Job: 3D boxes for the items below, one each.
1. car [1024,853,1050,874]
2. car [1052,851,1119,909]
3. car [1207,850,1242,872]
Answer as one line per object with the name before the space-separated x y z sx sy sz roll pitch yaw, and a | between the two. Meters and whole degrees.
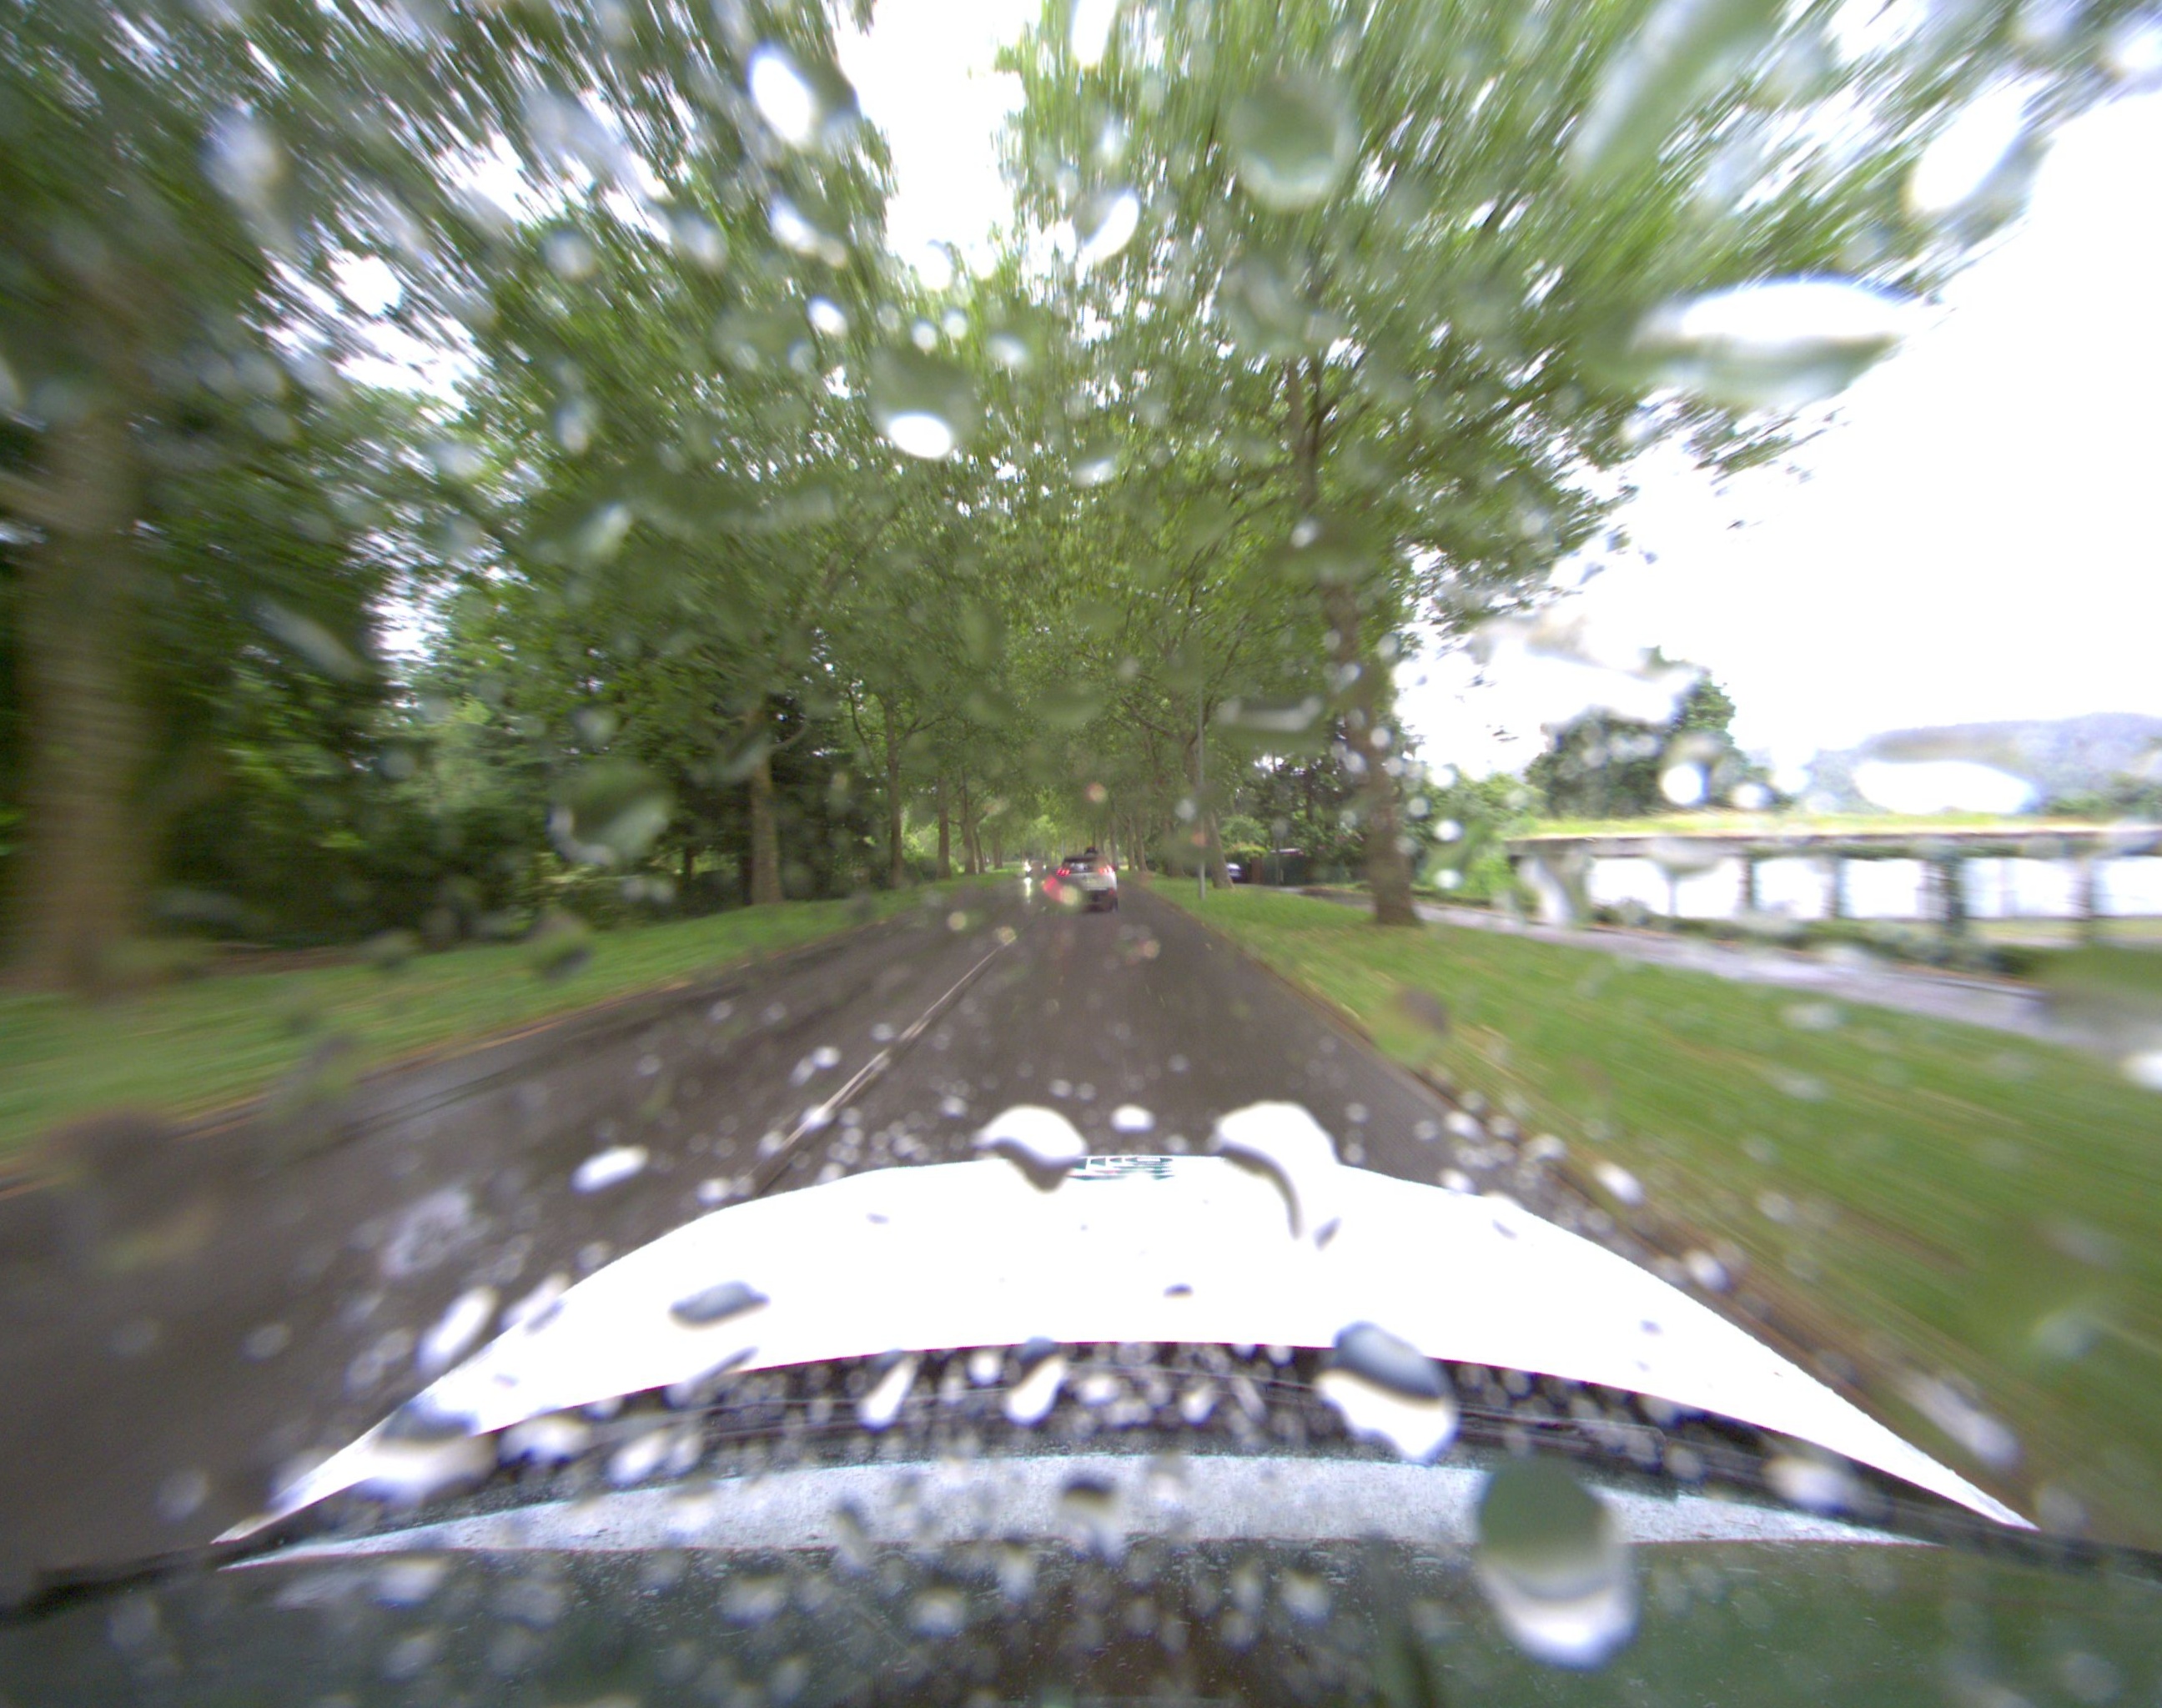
car | -3.658 0.796 68.086 1.866 1.677 3.710 -1 0 2
car | 0.152 0.712 23.796 1.774 1.536 4.057 1 -1 0
car | 9.918 0.469 56.564 1.898 1.510 3.933 0 0 2
